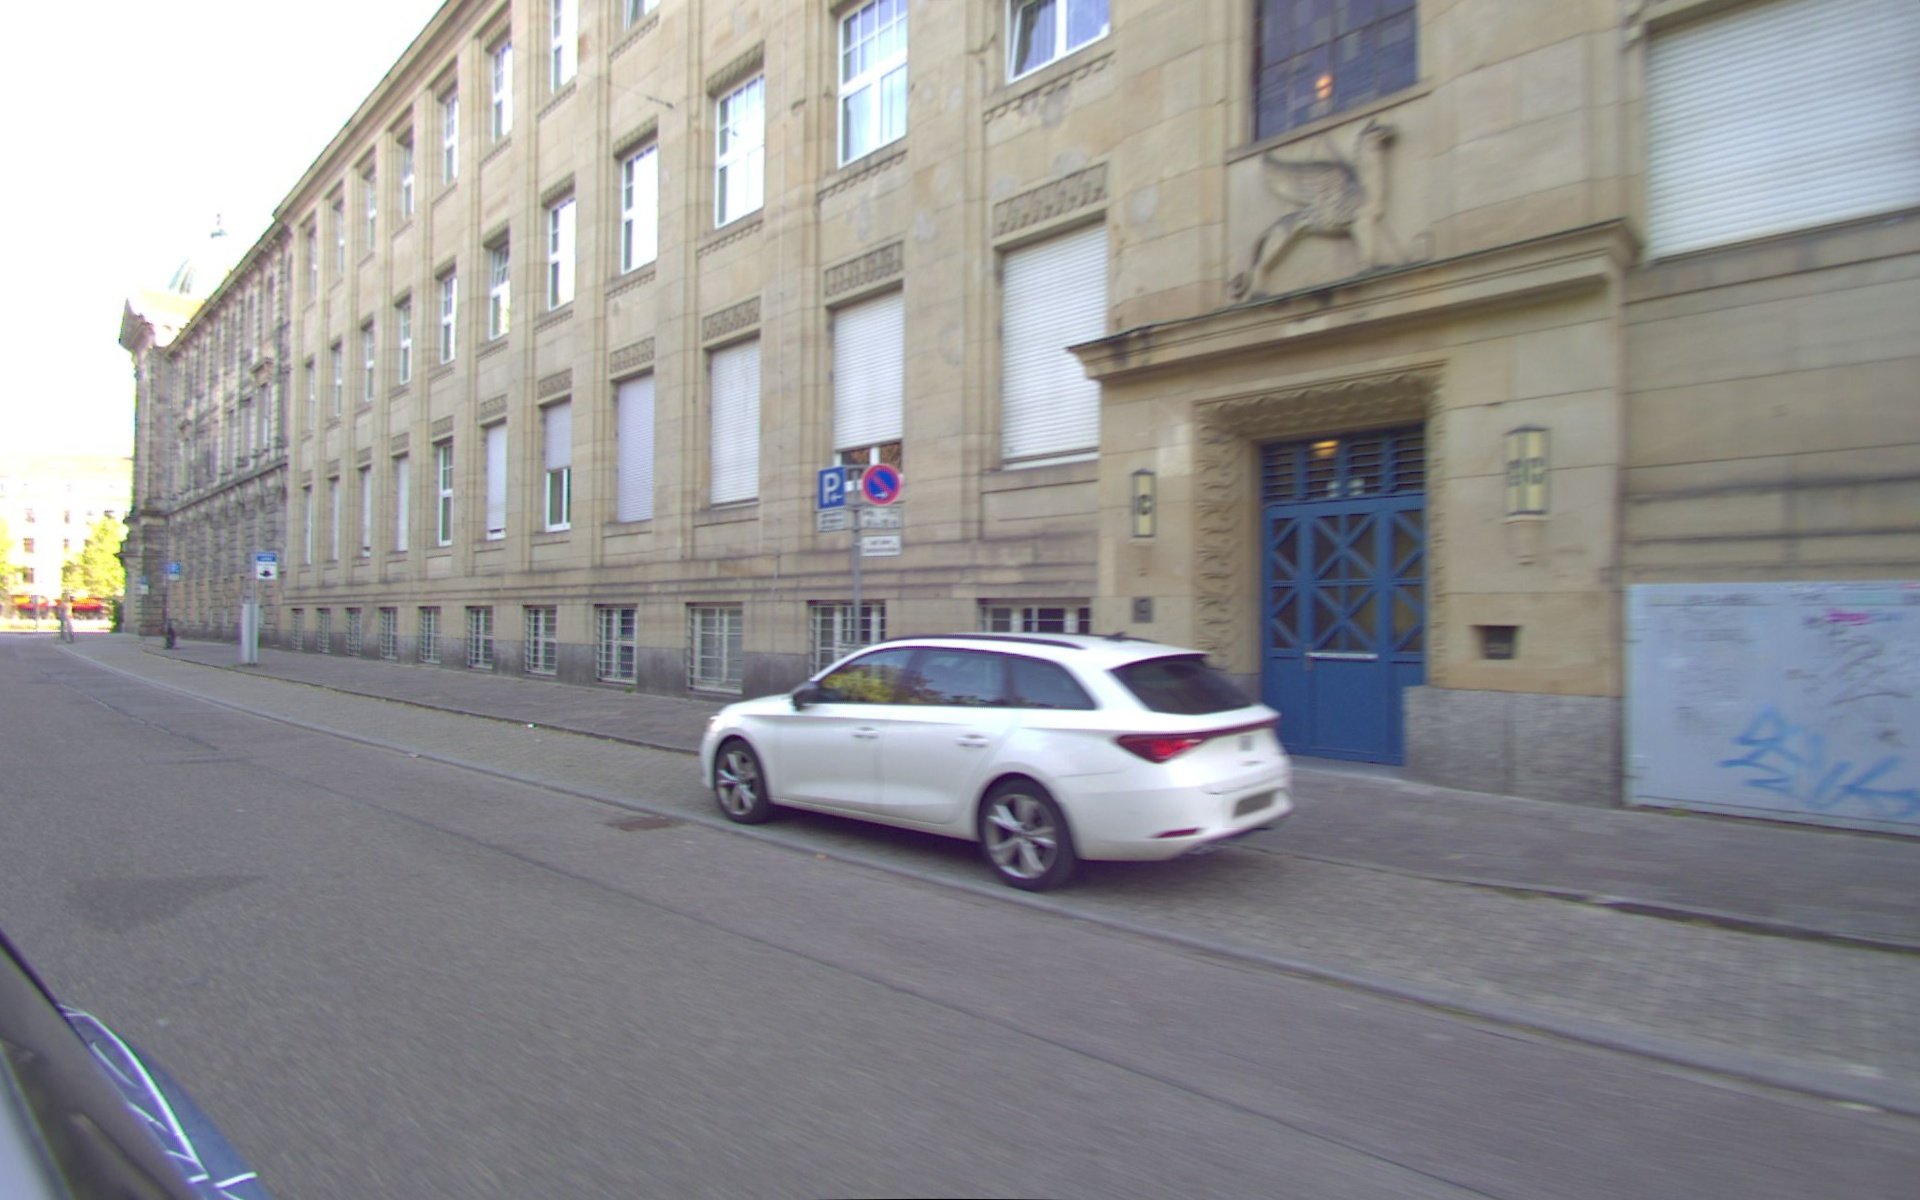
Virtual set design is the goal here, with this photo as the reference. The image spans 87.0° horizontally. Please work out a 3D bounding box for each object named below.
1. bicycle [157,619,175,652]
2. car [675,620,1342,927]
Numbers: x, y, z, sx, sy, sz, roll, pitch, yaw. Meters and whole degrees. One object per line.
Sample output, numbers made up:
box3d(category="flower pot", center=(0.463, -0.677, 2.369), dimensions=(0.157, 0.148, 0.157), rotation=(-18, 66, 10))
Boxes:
box3d(category="bicycle", center=(-30.228, 1.350, 38.537), dimensions=(0.451, 1.218, 1.882), rotation=(2, -2, -37))
box3d(category="car", center=(0.063, 0.881, 7.044), dimensions=(4.558, 1.446, 1.726), rotation=(-1, -1, 41))
